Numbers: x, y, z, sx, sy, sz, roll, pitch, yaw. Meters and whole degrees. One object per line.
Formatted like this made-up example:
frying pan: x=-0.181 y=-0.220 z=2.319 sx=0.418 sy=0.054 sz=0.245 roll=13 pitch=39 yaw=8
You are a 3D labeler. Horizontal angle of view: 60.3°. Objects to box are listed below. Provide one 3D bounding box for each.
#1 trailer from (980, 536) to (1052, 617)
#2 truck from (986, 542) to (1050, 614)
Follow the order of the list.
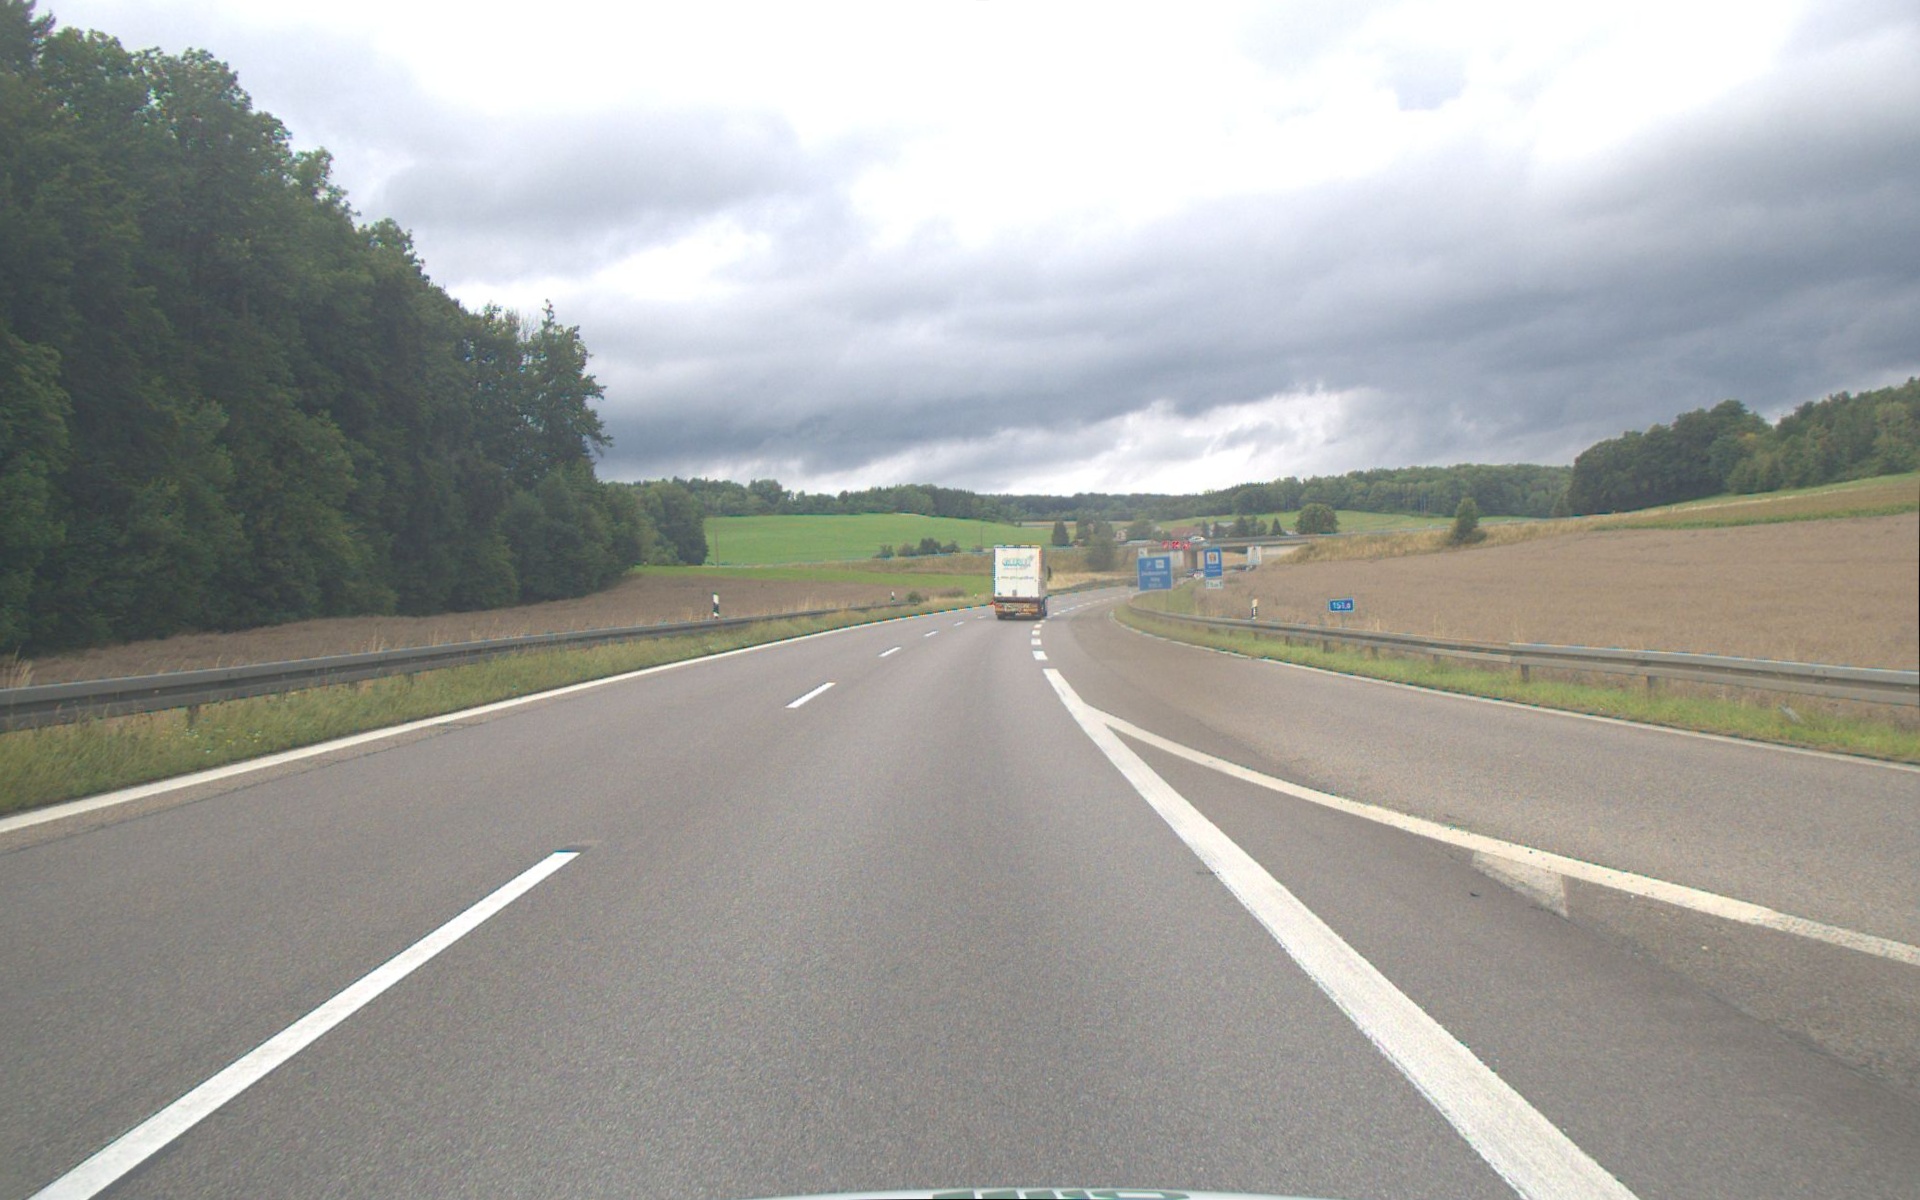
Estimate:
trailer: x=3.294 y=-1.280 z=94.658 sx=3.726 sy=4.247 sz=14.813 roll=-1 pitch=0 yaw=3
truck: x=3.583 y=-1.323 z=101.325 sx=3.709 sy=4.204 sz=8.267 roll=-1 pitch=0 yaw=2
